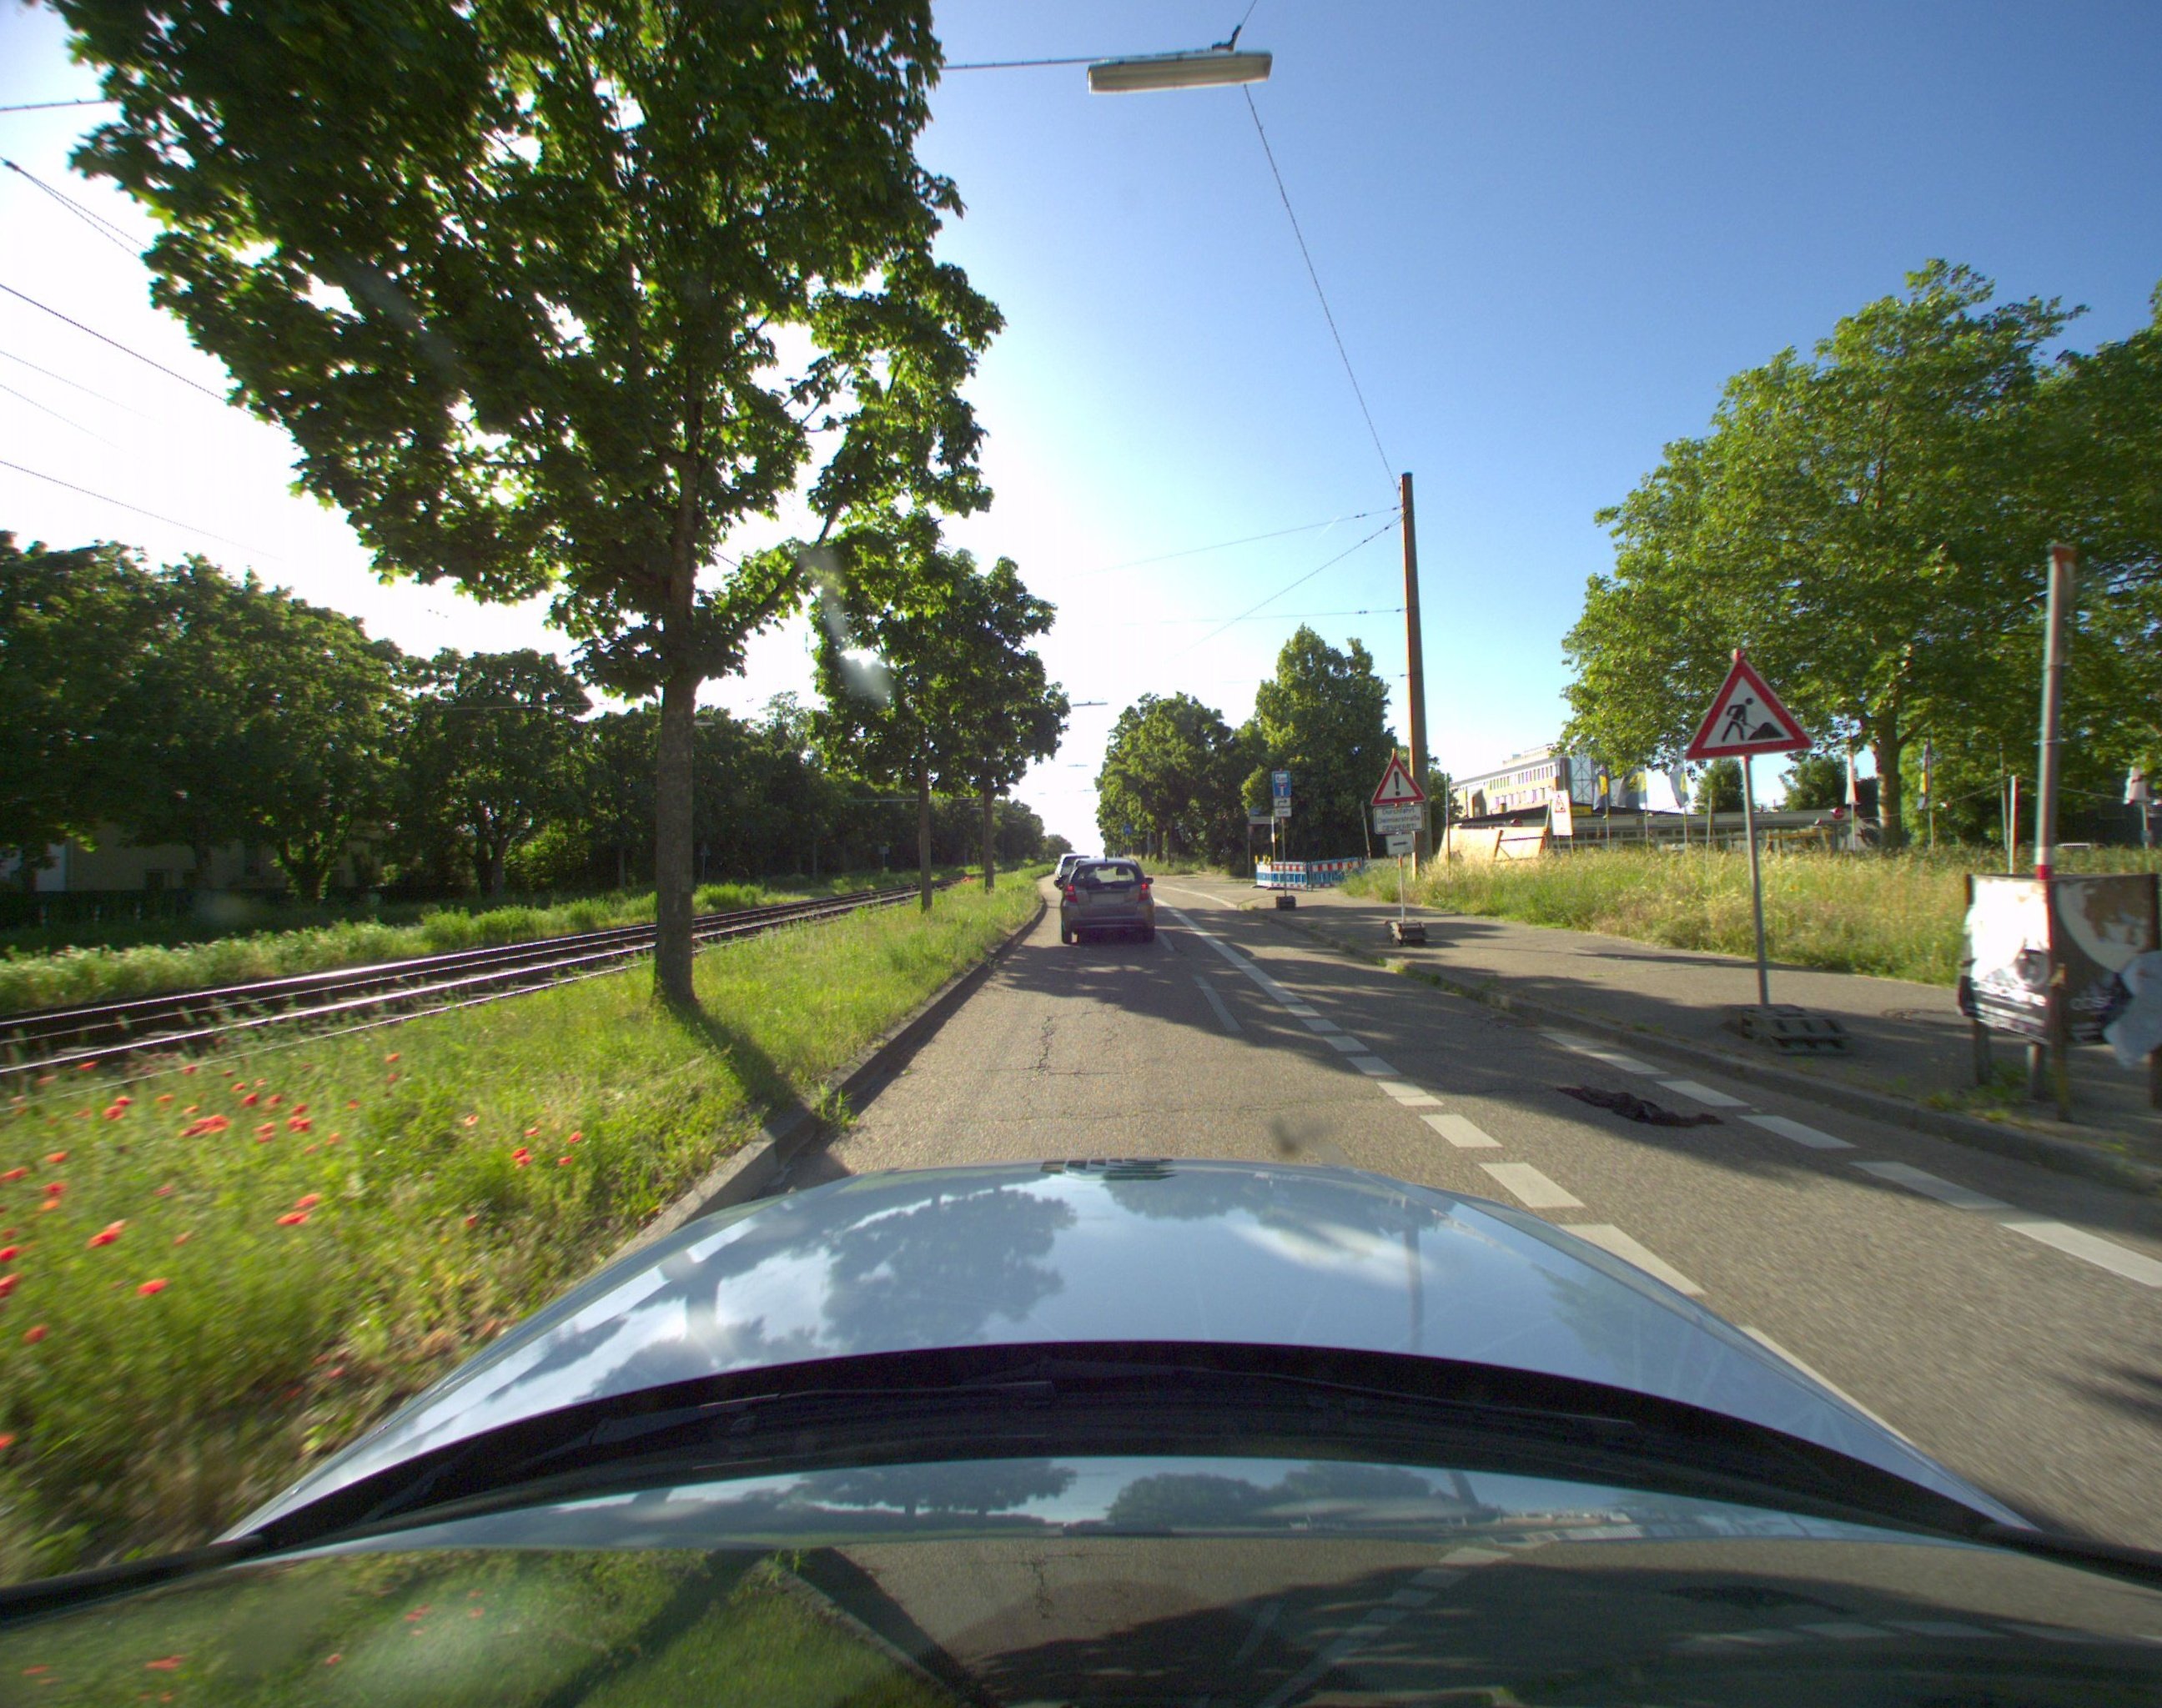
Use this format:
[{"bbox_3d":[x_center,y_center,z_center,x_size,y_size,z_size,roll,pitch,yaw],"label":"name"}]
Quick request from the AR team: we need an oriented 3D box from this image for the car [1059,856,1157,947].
[{"bbox_3d":[0.455,0.805,15.684,1.665,1.515,3.673,0,0,0],"label":"car"}]

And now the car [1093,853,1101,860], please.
[{"bbox_3d":[4.907,0.875,249.843,1.986,2.013,4.002,-5,-1,2],"label":"car"}]

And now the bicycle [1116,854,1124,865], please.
[{"bbox_3d":[3.779,0.531,78.911,0.814,1.048,2.507,-1,-2,3],"label":"bicycle"}]

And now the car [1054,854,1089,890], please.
[{"bbox_3d":[-0.462,0.815,37.156,1.349,1.528,3.118,-2,-1,-5],"label":"car"}]

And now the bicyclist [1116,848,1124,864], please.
[{"bbox_3d":[3.784,0.196,78.940,0.814,1.524,0.966,-1,-2,3],"label":"bicyclist"}]
